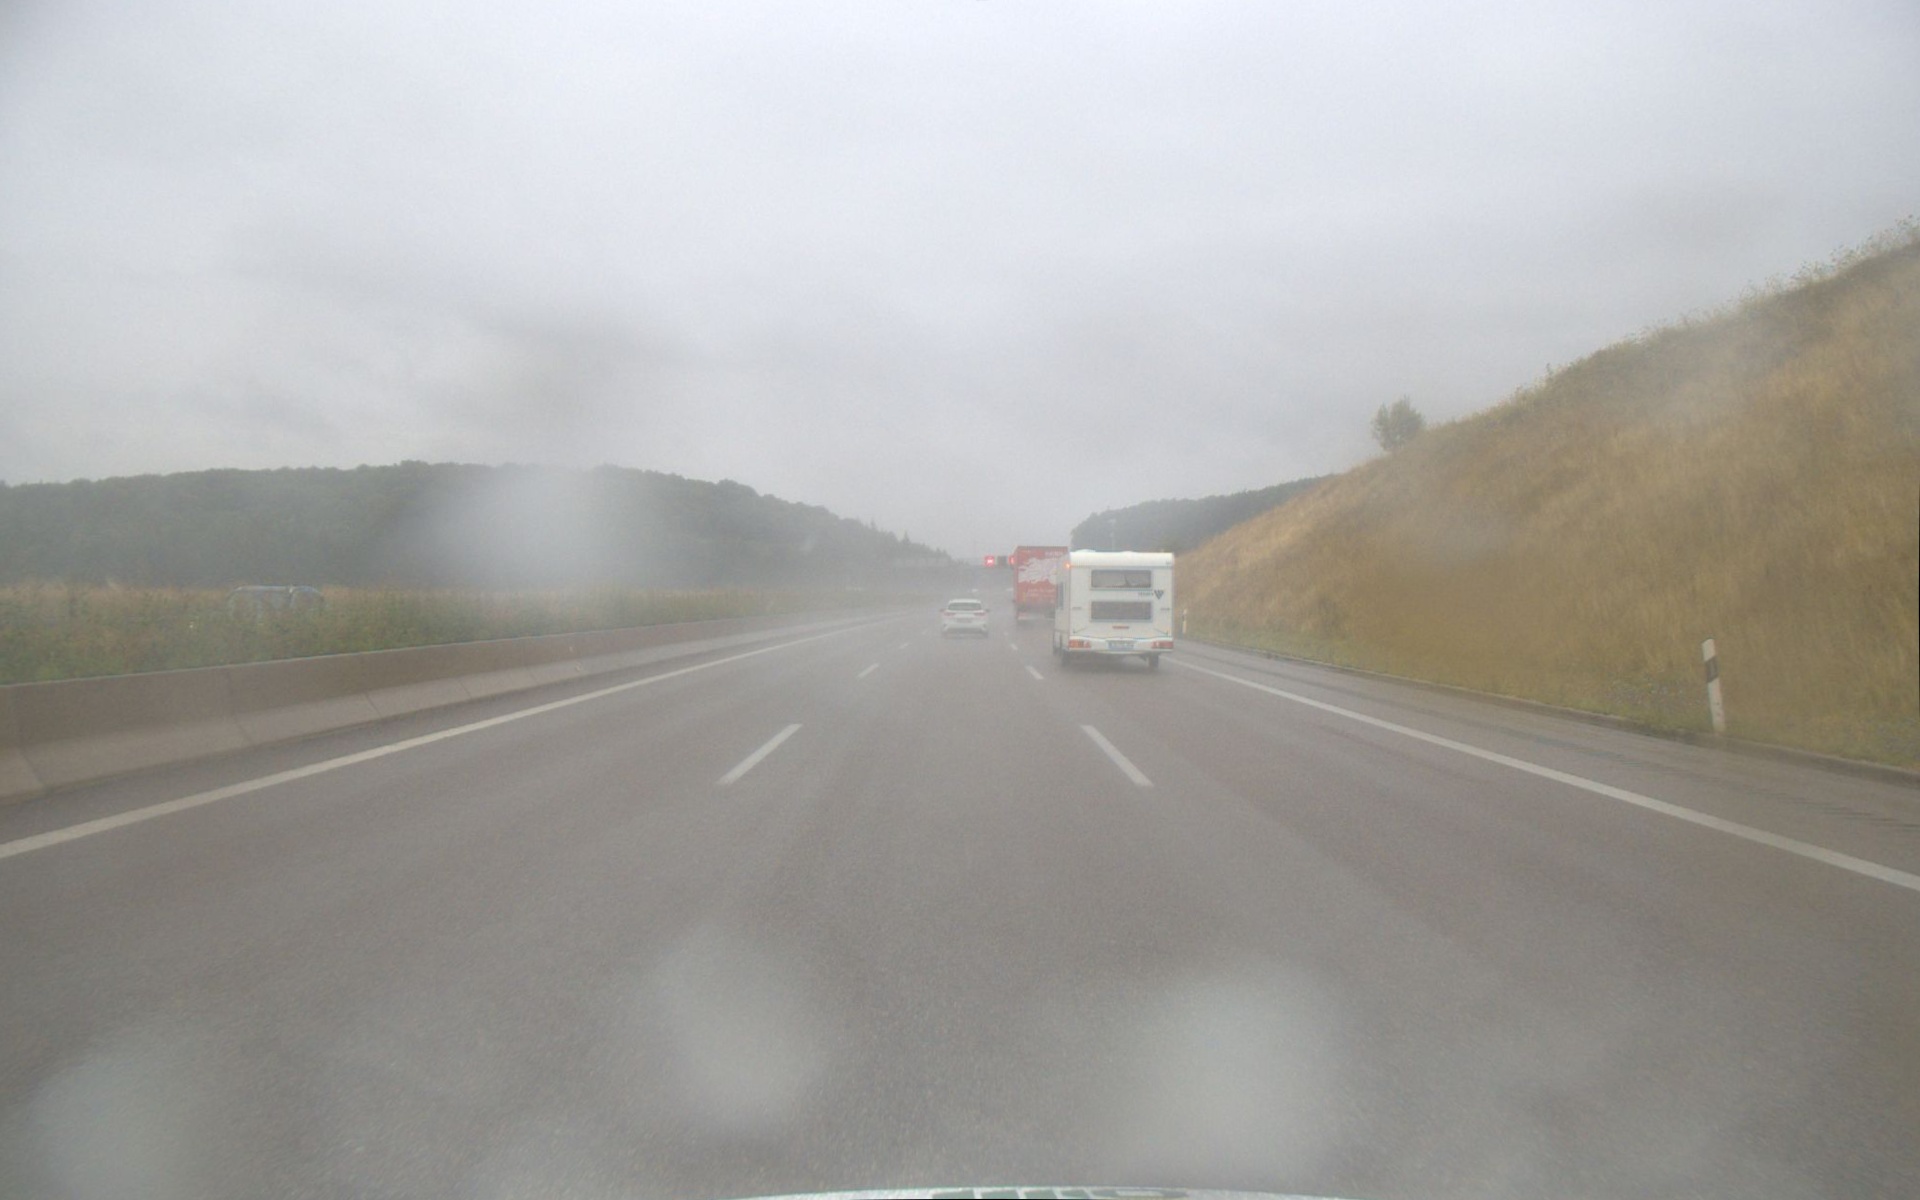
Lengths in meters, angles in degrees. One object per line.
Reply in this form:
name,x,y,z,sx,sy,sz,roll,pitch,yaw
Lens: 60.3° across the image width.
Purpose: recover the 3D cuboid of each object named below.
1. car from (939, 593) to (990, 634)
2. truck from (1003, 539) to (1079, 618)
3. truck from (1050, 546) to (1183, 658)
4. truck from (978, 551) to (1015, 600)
car,0.150,0.533,62.831,1.830,1.488,3.999,1,-1,-1
truck,4.082,-1.104,86.292,3.455,3.808,11.427,1,1,0
truck,3.369,0.046,36.517,2.359,2.292,4.691,0,0,-2
truck,5.433,-3.489,245.941,5.302,6.958,19.458,1,0,1
